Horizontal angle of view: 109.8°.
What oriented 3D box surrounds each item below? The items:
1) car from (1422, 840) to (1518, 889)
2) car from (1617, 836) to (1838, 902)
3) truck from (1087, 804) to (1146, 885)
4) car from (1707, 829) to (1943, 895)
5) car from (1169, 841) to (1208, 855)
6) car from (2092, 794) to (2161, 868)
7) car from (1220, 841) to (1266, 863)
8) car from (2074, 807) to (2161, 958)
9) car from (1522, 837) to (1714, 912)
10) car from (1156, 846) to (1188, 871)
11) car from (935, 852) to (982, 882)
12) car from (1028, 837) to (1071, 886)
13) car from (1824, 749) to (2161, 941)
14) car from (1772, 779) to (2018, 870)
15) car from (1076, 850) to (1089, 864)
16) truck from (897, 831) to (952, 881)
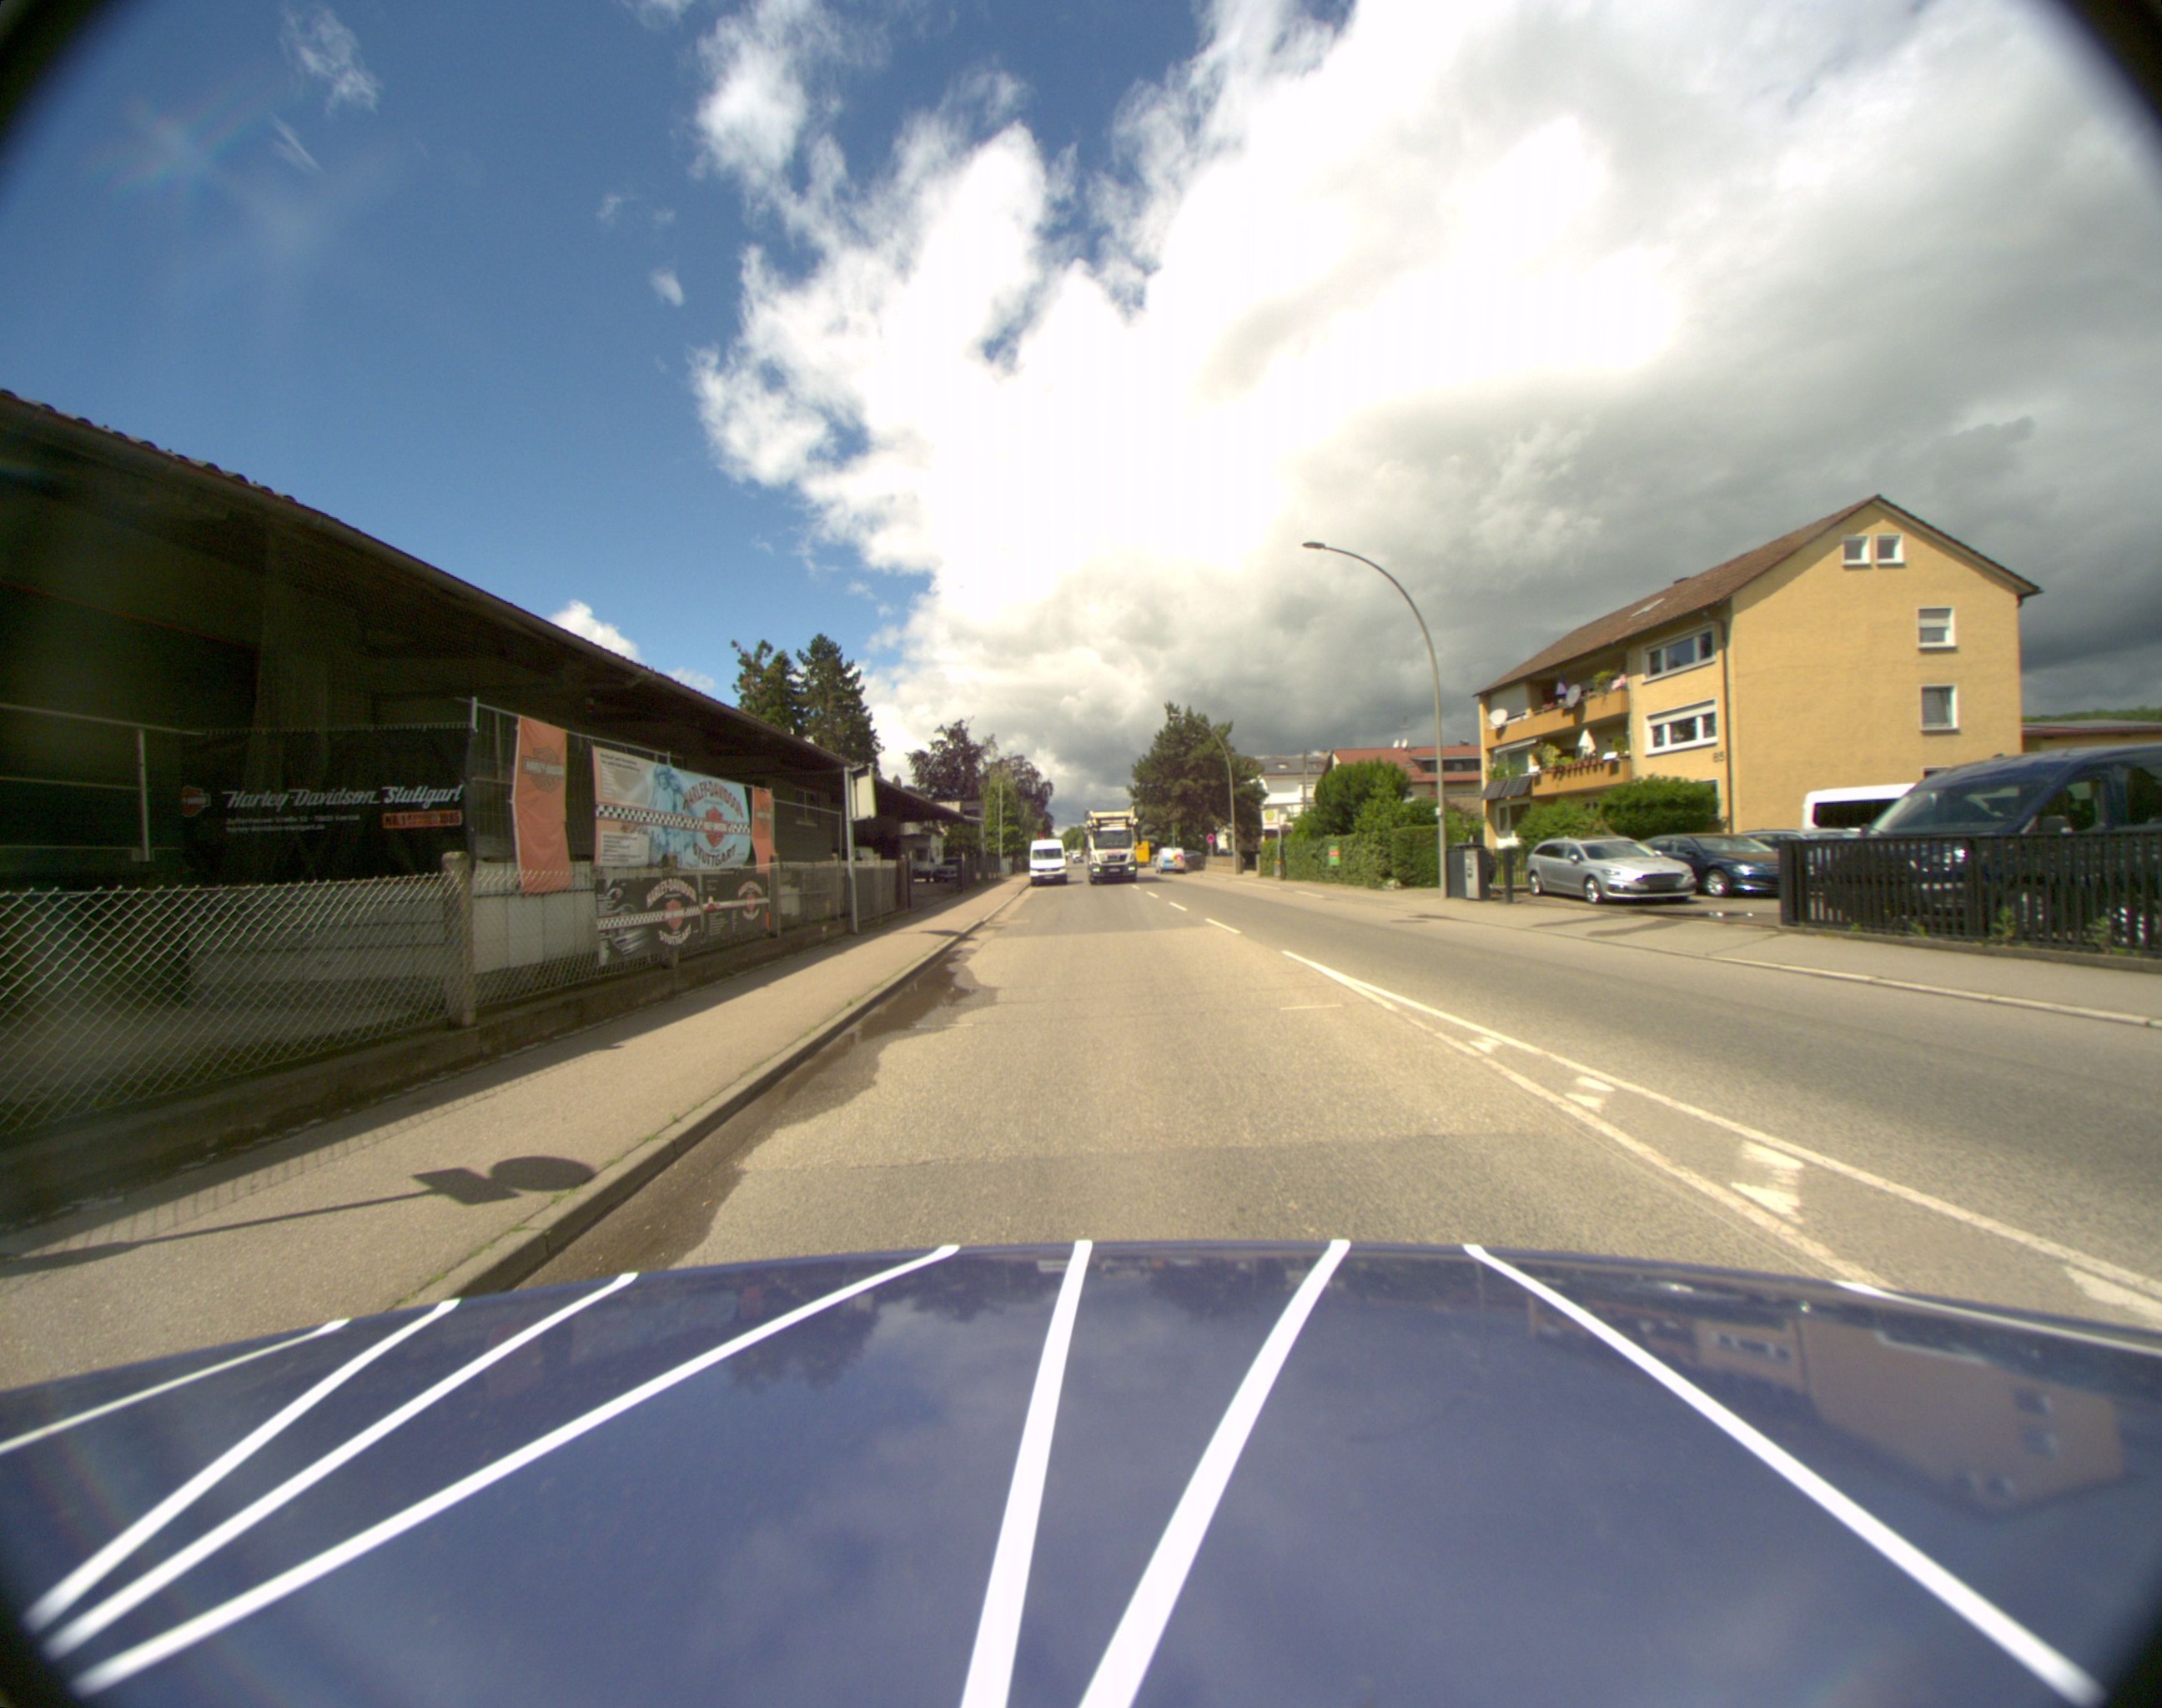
[{"bbox_3d":[14.648,0.357,28.814,1.831,1.656,3.522,-2,1,1],"label":"car"},{"bbox_3d":[15.096,0.302,18.084,1.885,1.334,3.999,-2,1,1],"label":"car"},{"bbox_3d":[1.753,-0.513,41.124,2.664,3.789,9.814,-2,1,1],"label":"truck"},{"bbox_3d":[17.905,0.147,18.612,1.883,1.364,3.999,-2,1,1],"label":"car"},{"bbox_3d":[14.154,-0.751,99.989,4.735,1.669,2.218,-2,1,-1],"label":"car"},{"bbox_3d":[28.706,-0.622,18.819,1.998,1.915,3.999,-2,1,1],"label":"car"},{"bbox_3d":[15.283,-0.151,71.845,2.003,2.002,3.990,-3,1,-32],"label":"car"},{"bbox_3d":[12.376,0.282,6.968,1.813,1.612,3.621,-2,1,1],"label":"car"},{"bbox_3d":[12.333,0.393,17.851,1.887,1.450,4.352,-3,1,8],"label":"car"},{"bbox_3d":[6.563,0.295,55.180,1.730,1.671,3.999,-2,1,-2],"label":"car"},{"bbox_3d":[-7.148,0.719,44.830,1.863,1.521,5.202,-2,1,0],"label":"car"},{"bbox_3d":[-1.712,0.361,43.187,2.091,2.519,5.202,-2,1,1],"label":"car"},{"bbox_3d":[14.217,-0.181,10.675,5.363,2.371,2.104,-2,1,2],"label":"car"},{"bbox_3d":[20.425,-0.688,19.362,1.998,2.002,3.999,-2,1,1],"label":"car"},{"bbox_3d":[0.256,0.532,133.729,2.091,2.310,5.202,-2,1,1],"label":"car"},{"bbox_3d":[-9.483,0.088,46.393,2.091,2.812,5.202,-2,1,1],"label":"truck"}]
